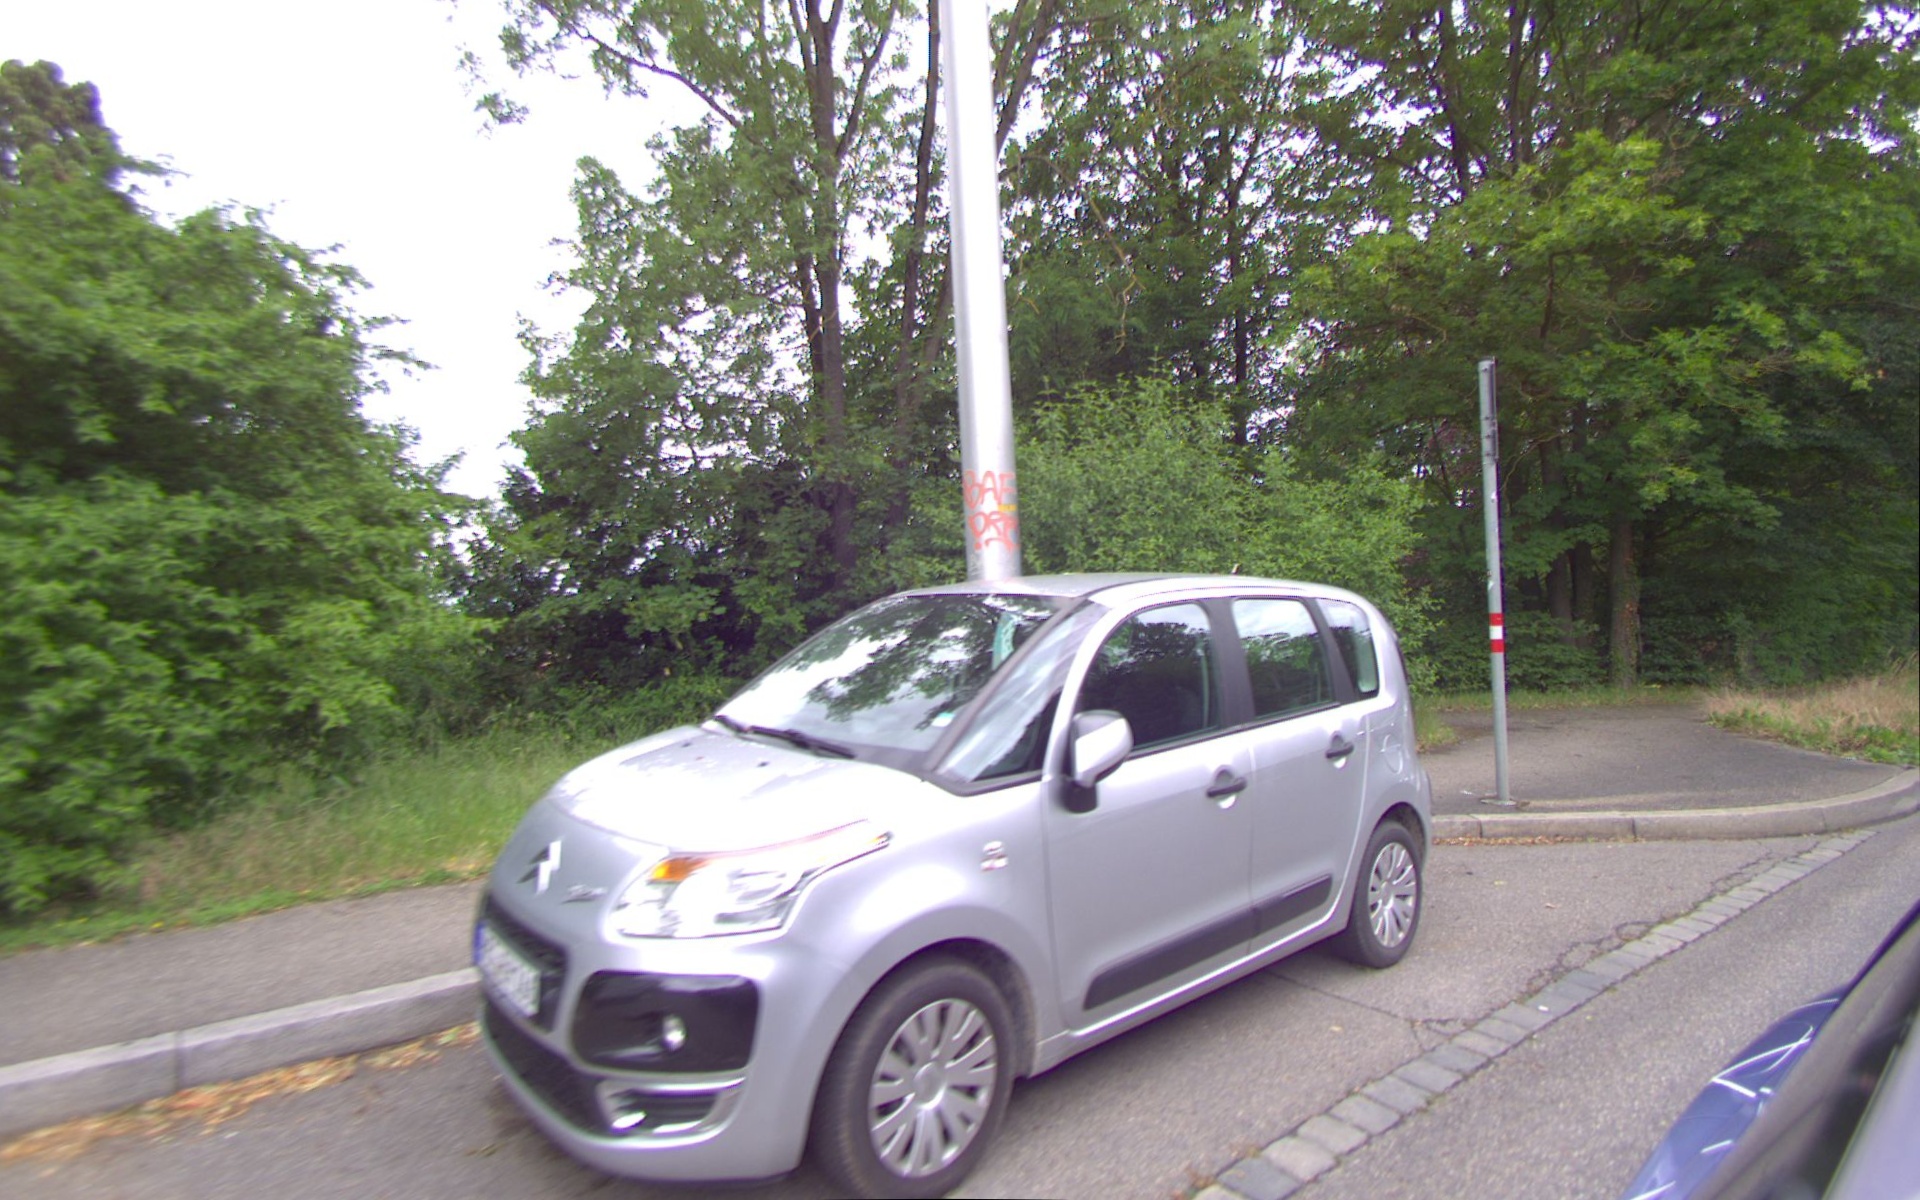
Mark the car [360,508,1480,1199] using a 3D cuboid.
[{"bbox_3d":[0.163,0.585,3.797,3.929,1.544,1.806,-1,0,-40],"label":"car"}]
